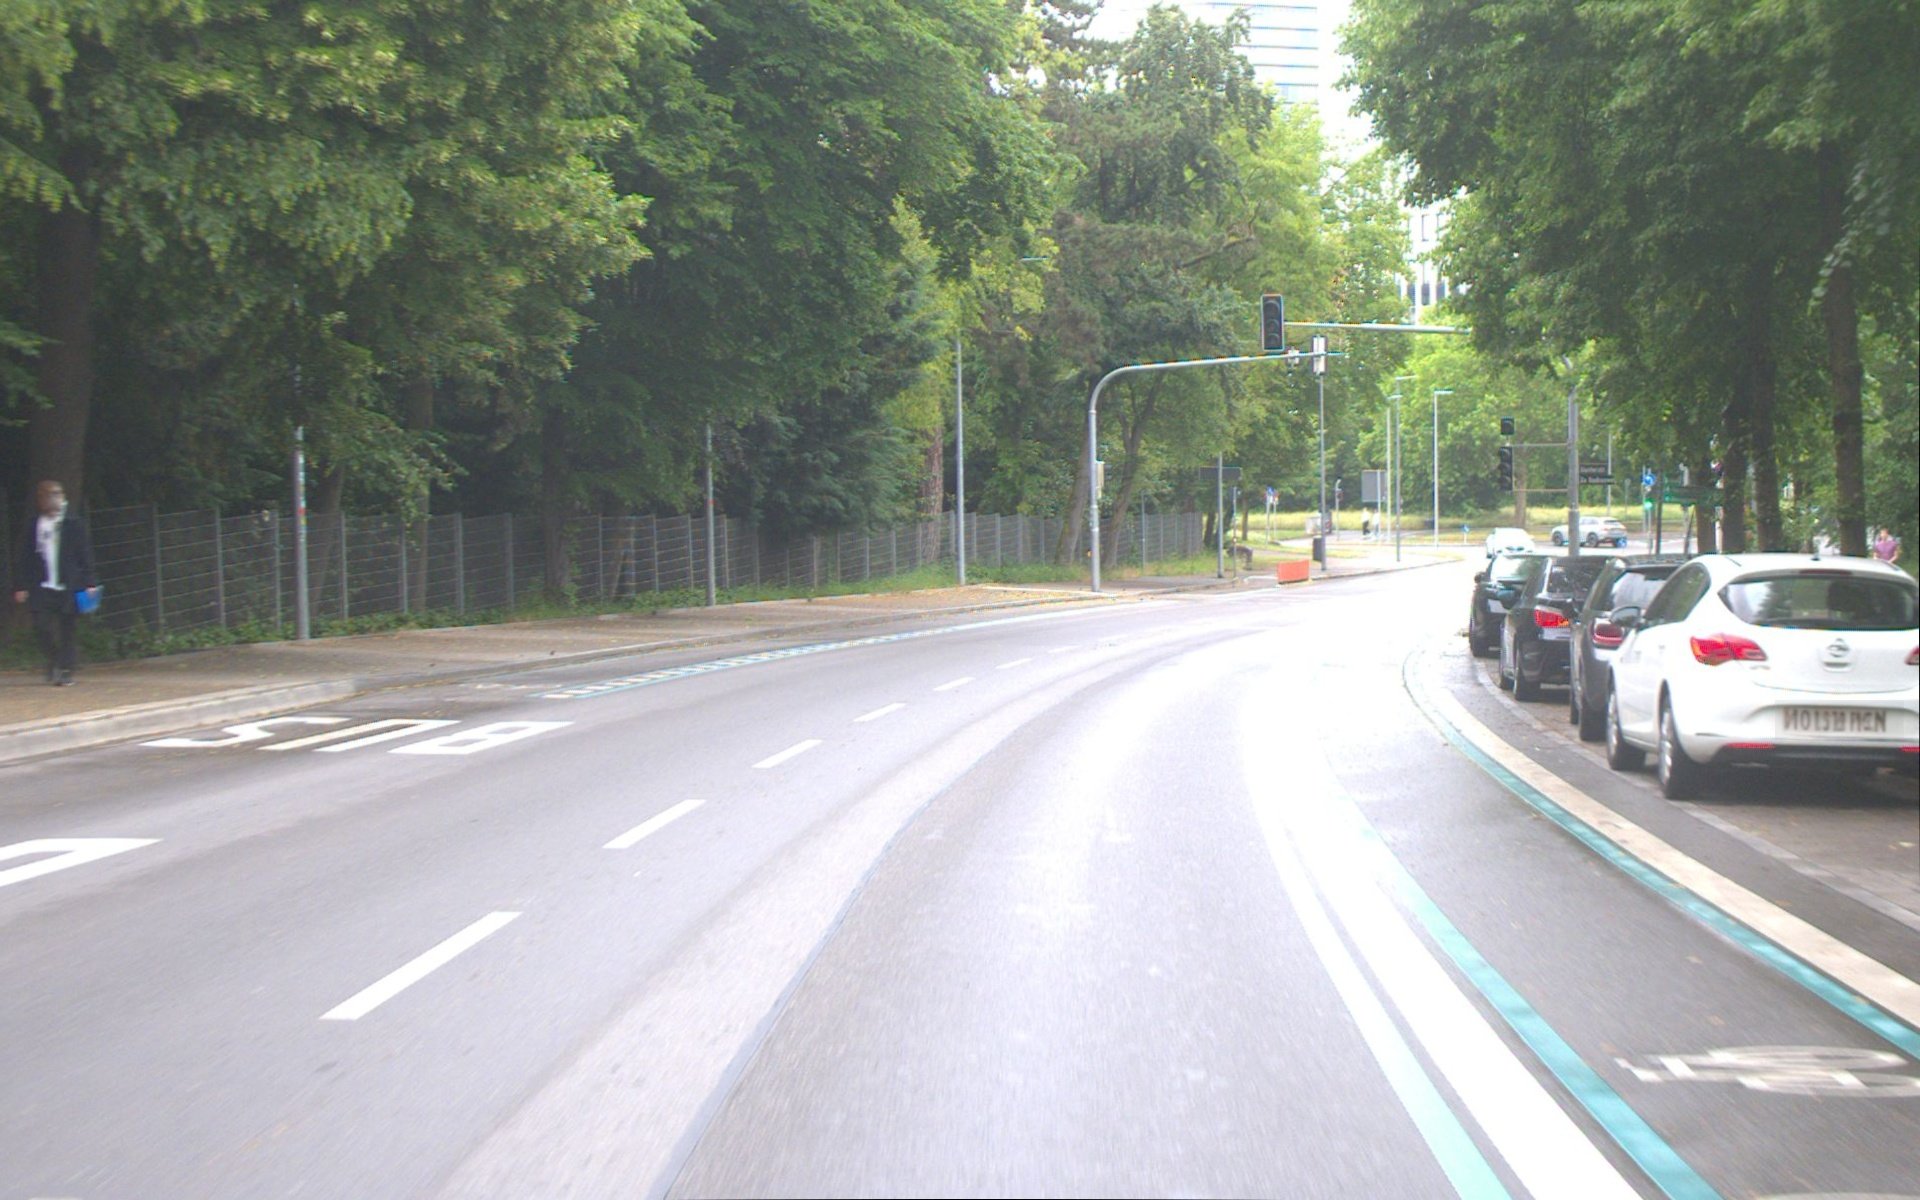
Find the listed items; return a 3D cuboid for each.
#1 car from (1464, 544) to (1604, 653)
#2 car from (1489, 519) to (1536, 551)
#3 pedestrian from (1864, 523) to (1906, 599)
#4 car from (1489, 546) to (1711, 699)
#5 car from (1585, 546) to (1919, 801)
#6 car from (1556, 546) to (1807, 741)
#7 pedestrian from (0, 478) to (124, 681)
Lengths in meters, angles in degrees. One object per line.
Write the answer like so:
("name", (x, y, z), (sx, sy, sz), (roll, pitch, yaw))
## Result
("car", (8.092, -0.057, 48.790), (1.699, 1.415, 4.762), (2, 1, 7))
("car", (26.776, -3.170, 166.614), (1.844, 1.452, 4.497), (1, 2, 14))
("pedestrian", (21.307, -0.898, 79.189), (0.887, 1.727, 1.145), (1, 1, 14))
("car", (6.432, 0.180, 34.987), (1.782, 1.403, 4.844), (2, 1, 6))
("car", (5.184, 0.392, 22.034), (1.860, 1.423, 4.649), (2, 1, 5))
("car", (5.802, 0.297, 28.049), (1.684, 1.423, 4.317), (2, 1, 8))
("pedestrian", (-7.884, -0.190, 29.990), (0.887, 1.727, 1.146), (1, 1, 1))
